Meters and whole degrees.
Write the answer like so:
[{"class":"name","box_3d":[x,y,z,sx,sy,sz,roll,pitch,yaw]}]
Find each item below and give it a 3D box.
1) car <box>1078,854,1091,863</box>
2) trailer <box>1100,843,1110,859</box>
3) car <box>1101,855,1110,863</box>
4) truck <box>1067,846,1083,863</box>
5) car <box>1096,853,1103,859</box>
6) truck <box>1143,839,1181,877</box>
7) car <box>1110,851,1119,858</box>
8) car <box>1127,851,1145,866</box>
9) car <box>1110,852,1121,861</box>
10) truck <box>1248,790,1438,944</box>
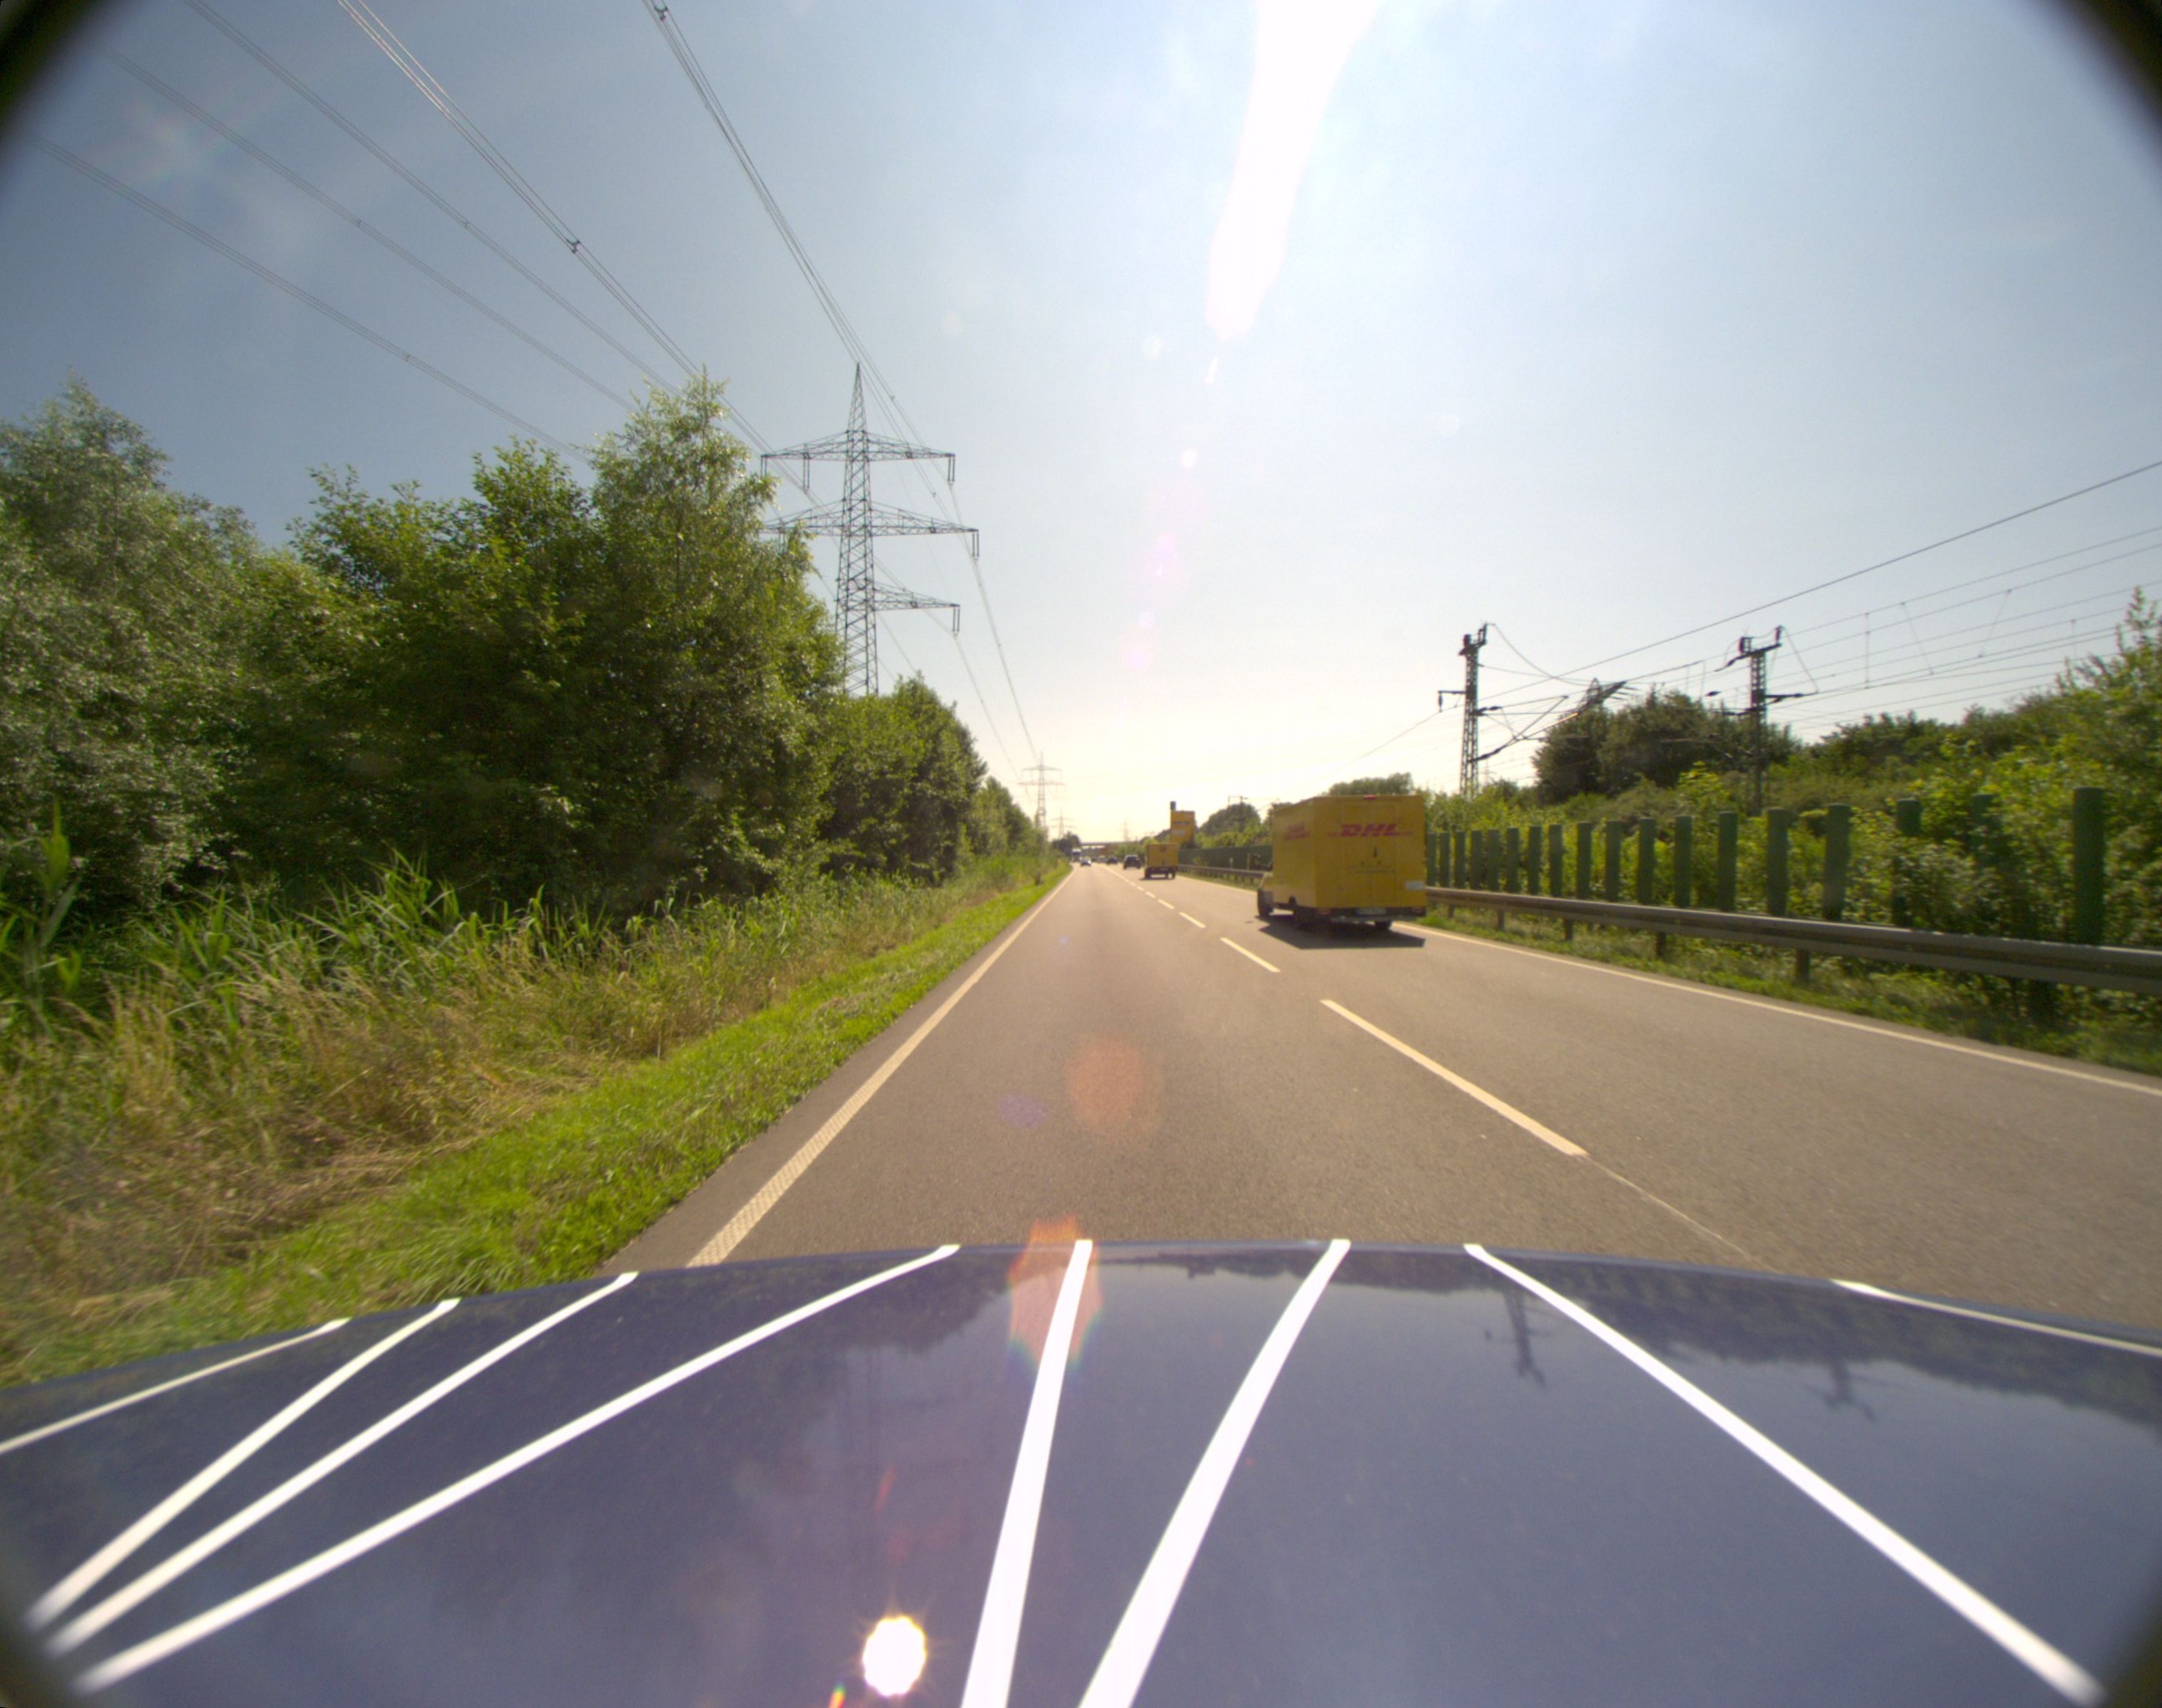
[{"class":"car","box_3d":[0.563,0.660,122.329,1.999,1.346,4.157,-2,1,0]},{"class":"trailer","box_3d":[6.809,-0.821,214.518,2.555,4.120,9.228,-1,0,0]},{"class":"car","box_3d":[5.344,1.098,165.002,1.829,1.596,4.323,-1,0,1]},{"class":"truck","box_3d":[-1.611,0.104,219.538,4.219,4.608,21.303,-2,0,0]},{"class":"car","box_3d":[4.709,0.574,191.777,1.618,1.433,3.794,-1,0,0]},{"class":"truck","box_3d":[5.407,0.247,51.373,1.998,2.334,6.012,-1,0,1]},{"class":"car","box_3d":[6.728,0.136,151.687,1.510,1.426,3.742,-1,0,0]},{"class":"car","box_3d":[6.413,0.497,88.741,1.806,1.578,4.370,-1,0,1]},{"class":"car","box_3d":[6.059,0.408,134.149,1.677,1.506,4.289,-1,0,0]},{"class":"truck","box_3d":[5.160,0.224,15.994,2.085,2.631,5.704,-1,0,1]}]
